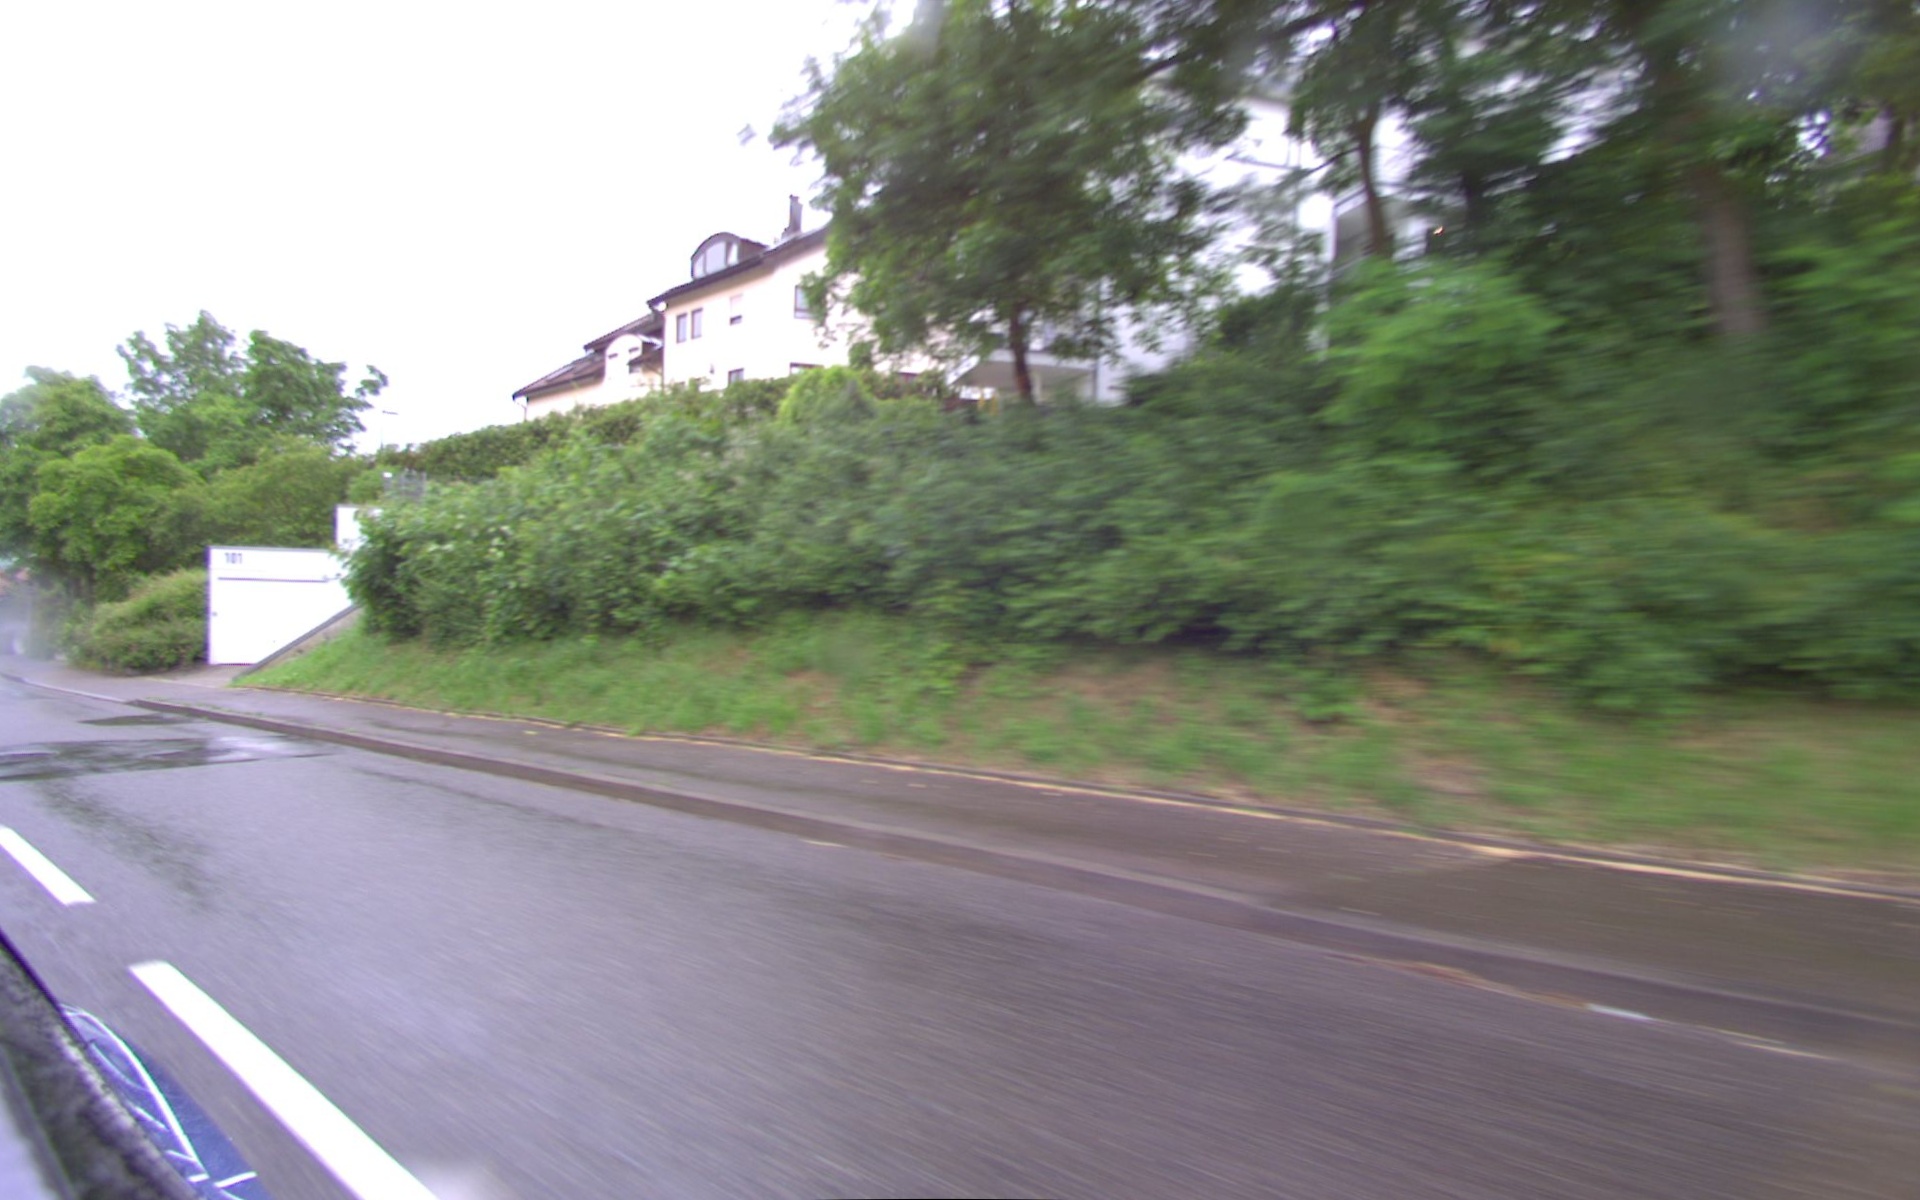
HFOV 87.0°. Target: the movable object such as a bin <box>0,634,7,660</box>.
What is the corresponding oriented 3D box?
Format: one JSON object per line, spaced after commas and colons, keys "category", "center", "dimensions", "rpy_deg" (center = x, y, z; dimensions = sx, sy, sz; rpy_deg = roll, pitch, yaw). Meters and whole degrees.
{"category": "movable object such as a bin", "center": [-42.387, 2.061, 44.511], "dimensions": [0.640, 1.124, 0.506], "rpy_deg": [3, -4, -42]}
